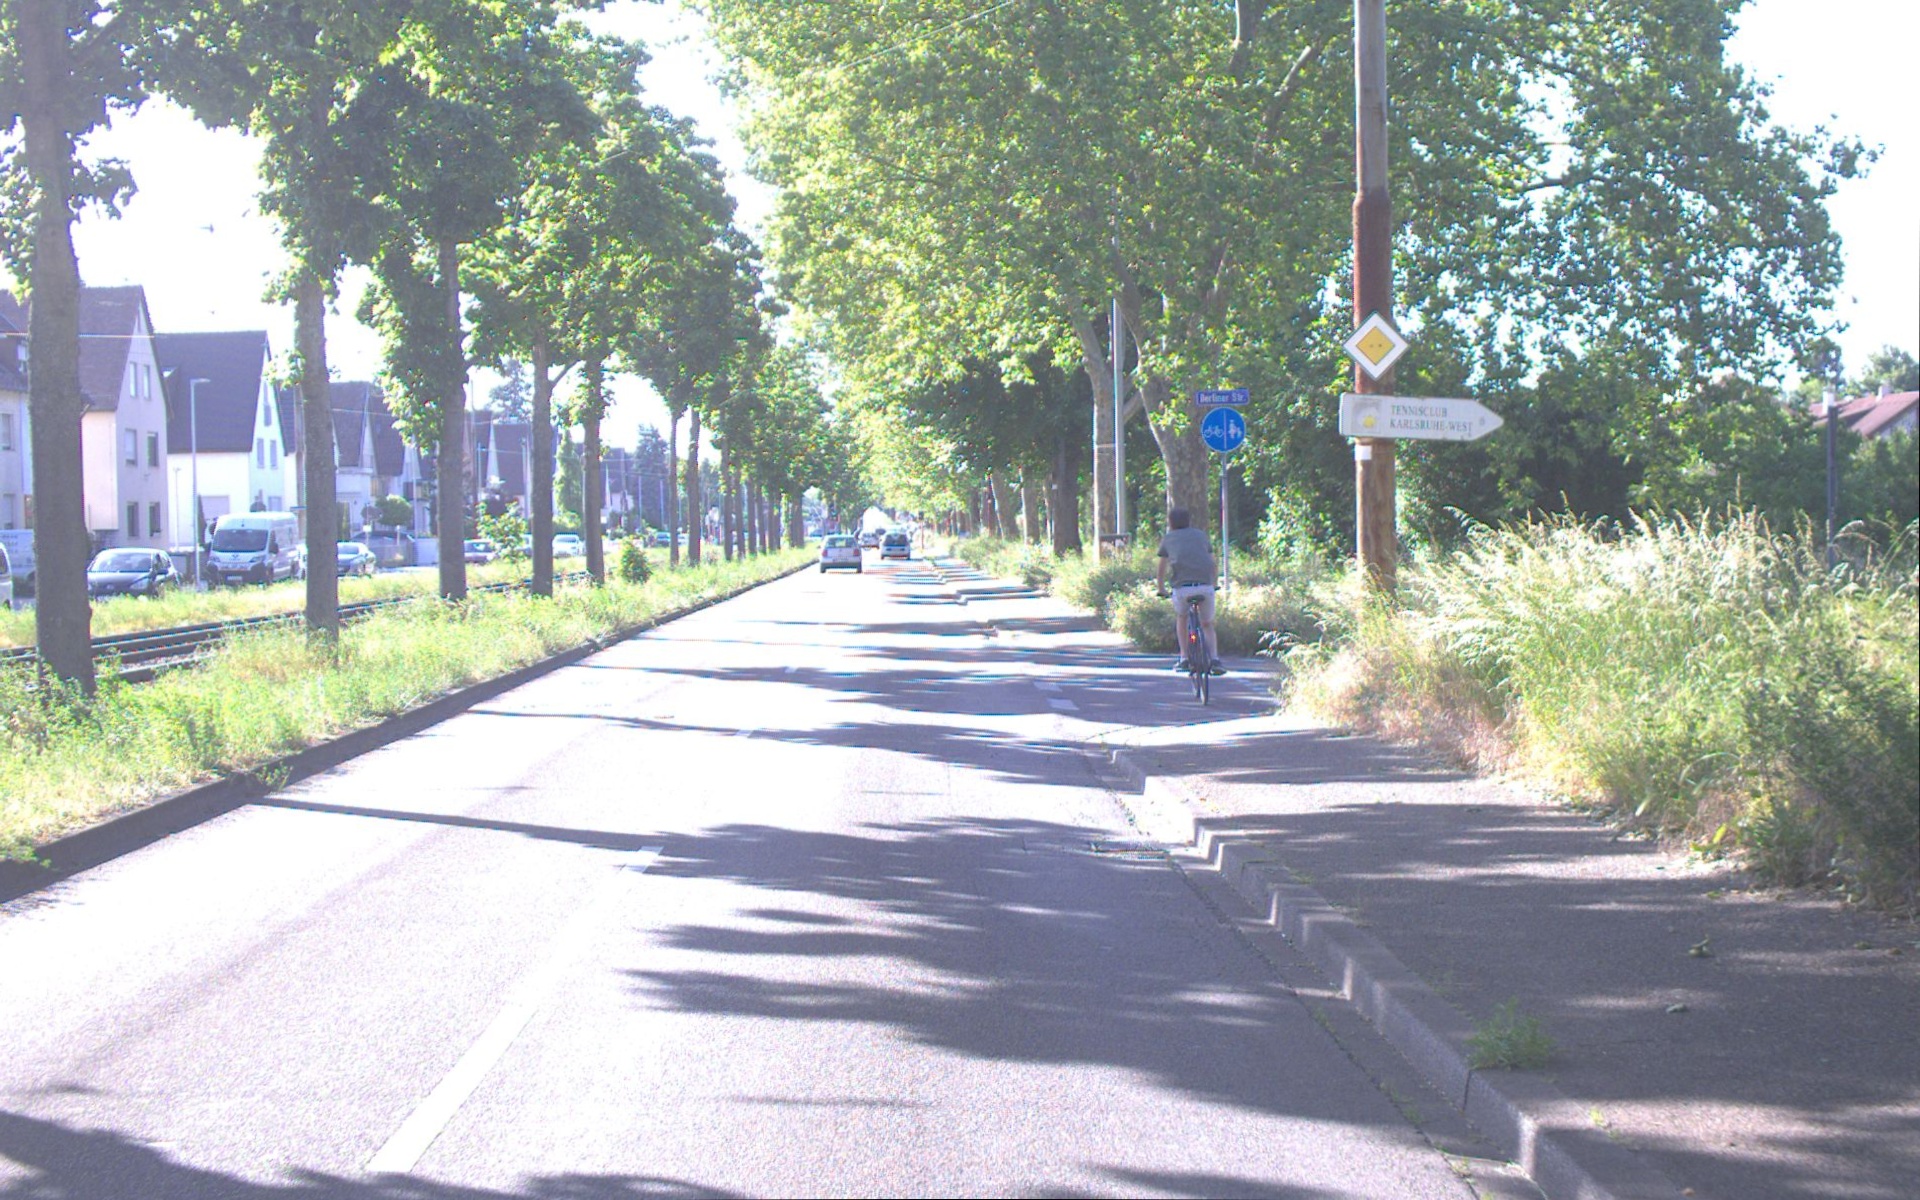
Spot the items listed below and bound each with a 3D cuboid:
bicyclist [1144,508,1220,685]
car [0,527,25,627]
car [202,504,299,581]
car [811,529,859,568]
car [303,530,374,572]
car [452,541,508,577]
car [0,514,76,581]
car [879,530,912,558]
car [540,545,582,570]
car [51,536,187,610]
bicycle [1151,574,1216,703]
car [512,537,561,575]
[{"bbox_3d":[2.072,-0.038,32.220,0.613,1.623,0.909,-1,1,-1],"label":"bicyclist"},{"bbox_3d":[-17.559,-0.422,58.826,1.810,1.738,4.982,1,0,-1],"label":"car"},{"bbox_3d":[-23.771,-1.891,115.366,1.993,2.451,6.675,1,0,-2],"label":"car"},{"bbox_3d":[-4.761,-1.957,131.449,1.738,1.396,3.277,1,0,-1],"label":"car"},{"bbox_3d":[-24.386,-1.933,135.071,1.993,1.576,4.498,1,1,0],"label":"car"},{"bbox_3d":[-19.067,-1.645,136.676,1.676,1.405,4.000,-1,1,-1],"label":"car"},{"bbox_3d":[-28.659,-1.571,101.948,4.616,1.939,2.001,1,1,-11],"label":"car"},{"bbox_3d":[-3.571,-3.088,190.817,1.761,1.508,3.277,1,0,0],"label":"car"},{"bbox_3d":[-26.541,-2.822,228.809,1.994,1.593,4.731,1,0,2],"label":"car"},{"bbox_3d":[-18.182,-0.596,74.495,1.993,1.526,3.751,-1,1,0],"label":"car"},{"bbox_3d":[2.088,0.344,32.257,0.440,1.149,1.823,-1,1,-1],"label":"bicycle"},{"bbox_3d":[-21.848,-2.246,177.393,1.915,1.876,4.524,1,0,0],"label":"car"}]
